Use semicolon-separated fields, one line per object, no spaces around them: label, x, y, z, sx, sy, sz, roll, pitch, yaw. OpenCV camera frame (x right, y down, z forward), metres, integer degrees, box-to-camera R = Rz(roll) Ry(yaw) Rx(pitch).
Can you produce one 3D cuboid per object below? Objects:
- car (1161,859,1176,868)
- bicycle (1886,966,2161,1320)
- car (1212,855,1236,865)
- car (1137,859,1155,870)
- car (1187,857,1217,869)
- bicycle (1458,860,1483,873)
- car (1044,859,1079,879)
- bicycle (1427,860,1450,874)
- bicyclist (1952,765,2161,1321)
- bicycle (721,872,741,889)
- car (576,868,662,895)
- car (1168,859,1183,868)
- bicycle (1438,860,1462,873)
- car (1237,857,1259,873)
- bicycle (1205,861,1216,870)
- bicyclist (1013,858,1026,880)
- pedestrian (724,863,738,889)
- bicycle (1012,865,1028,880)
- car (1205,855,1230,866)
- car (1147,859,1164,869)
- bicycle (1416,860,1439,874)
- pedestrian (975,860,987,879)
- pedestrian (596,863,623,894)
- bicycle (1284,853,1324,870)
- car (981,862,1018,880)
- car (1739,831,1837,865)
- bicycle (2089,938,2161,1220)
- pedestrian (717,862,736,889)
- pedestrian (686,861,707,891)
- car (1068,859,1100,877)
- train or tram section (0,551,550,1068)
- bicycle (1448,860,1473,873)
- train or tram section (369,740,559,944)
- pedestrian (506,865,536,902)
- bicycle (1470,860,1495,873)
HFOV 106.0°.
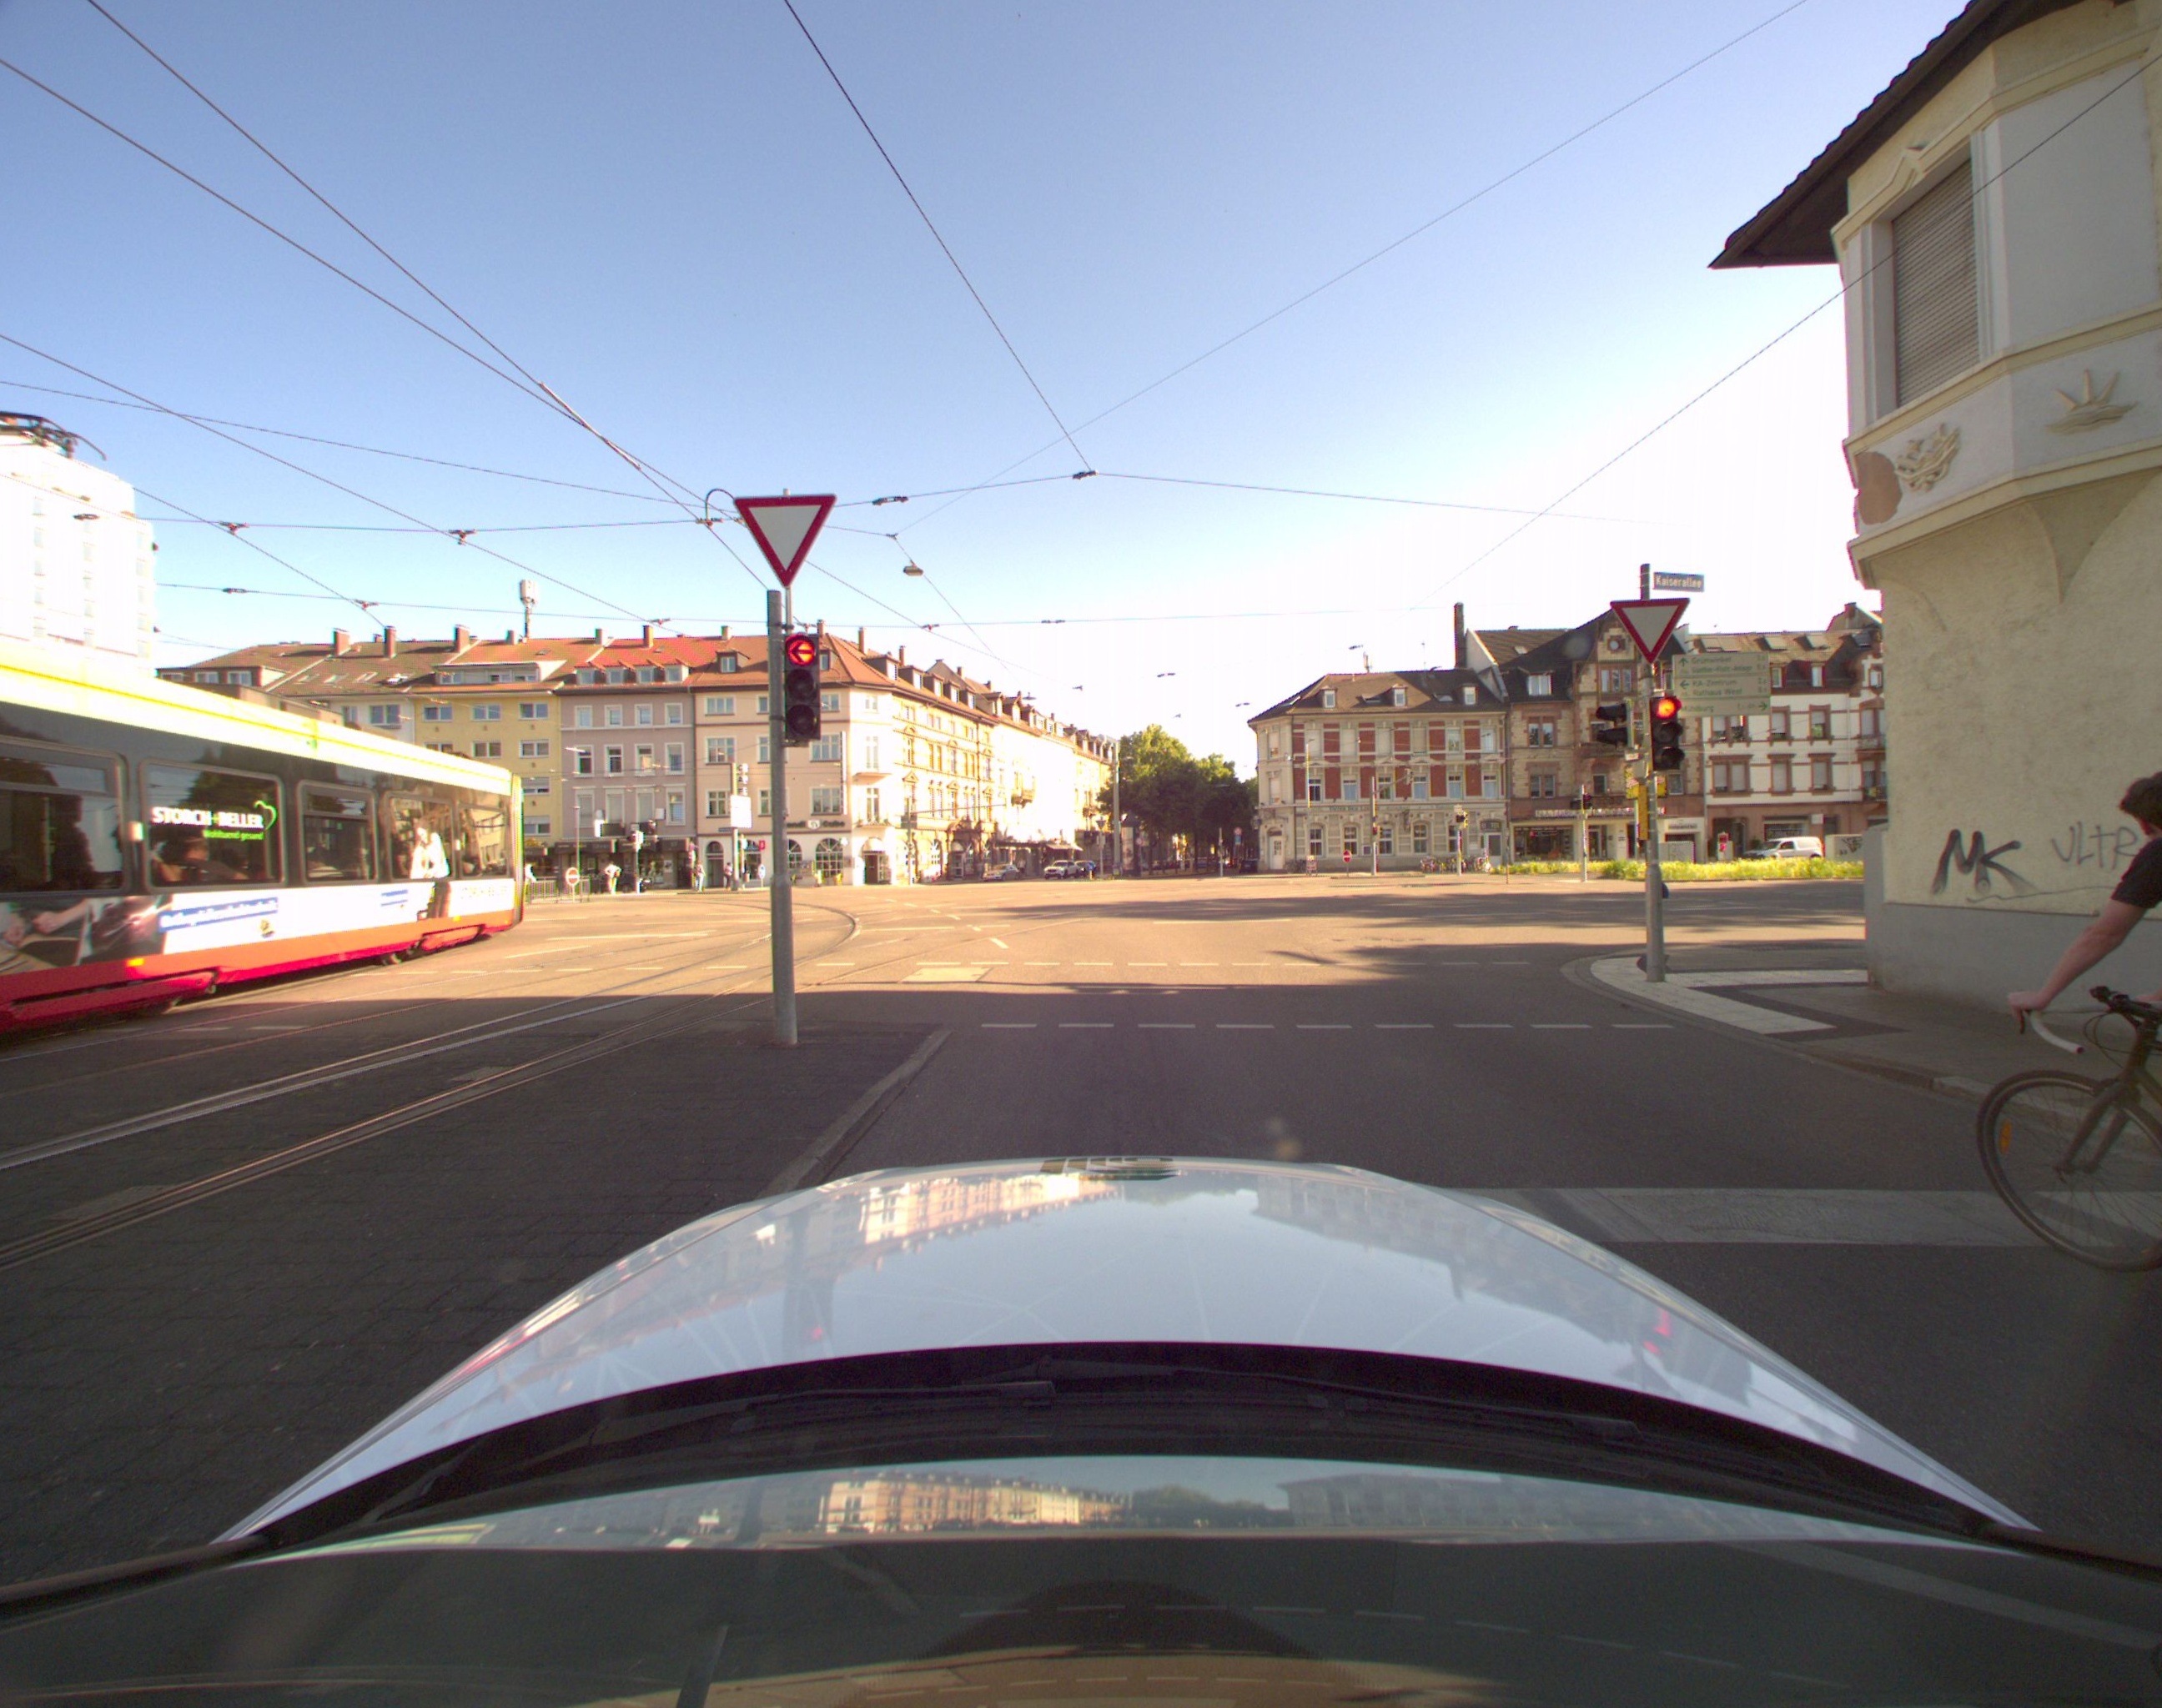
car;14.031;1.506;130.617;1.664;1.354;3.608;-2;0;19
bicycle;3.602;0.956;2.517;0.516;0.970;1.750;-1;0;2
car;23.352;0.972;133.163;3.549;1.648;1.691;-1;0;19
car;9.171;1.495;115.455;1.664;1.354;3.608;-2;0;19
car;17.202;1.261;115.463;3.870;1.648;1.691;-1;0;19
bicycle;25.205;0.809;52.711;0.656;0.840;2.162;0;-1;3
car;-1.605;1.213;67.518;1.664;1.483;3.789;-2;0;19
bicycle;23.161;0.824;52.764;0.656;0.840;2.162;0;-1;3
bicyclist;3.578;0.574;2.508;0.570;1.701;1.117;-1;0;2
bicycle;-22.796;1.724;53.040;0.570;1.077;1.497;0;-1;2
car;-30.365;1.781;53.644;4.347;1.711;2.308;0;-1;4
car;15.717;1.526;135.610;1.664;1.354;3.608;-2;0;19
bicycle;23.885;0.818;52.749;0.656;0.840;2.162;0;-1;3
car;16.903;1.100;82.343;1.664;1.483;3.967;-2;0;19
bicycle;15.768;1.395;99.288;0.636;1.021;1.839;0;-1;-12
bicyclist;-4.941;1.207;65.422;0.772;1.803;1.060;-1;-1;16
pedestrian;-22.796;1.427;53.100;0.580;1.670;0.753;0;-1;2
bicycle;-4.894;1.482;65.542;0.696;1.118;1.642;-1;-1;16
car;21.446;1.065;127.729;3.549;1.648;1.691;-1;0;19
car;11.241;1.537;122.371;1.664;1.354;3.608;-2;0;19
bicycle;22.426;0.829;52.705;0.656;0.840;2.162;0;-1;3
pedestrian;-8.744;1.376;71.161;0.770;1.670;0.834;-1;-1;17
pedestrian;-24.638;1.280;42.551;0.842;1.577;0.836;-1;-1;11
bicycle;15.604;0.502;57.068;2.547;1.174;0.818;0;-1;-1
car;-6.709;1.422;67.234;1.664;1.354;3.608;-2;0;19
car;45.444;-0.373;52.411;4.406;2.013;2.002;-1;0;4
bicycle;4.491;0.936;2.571;0.515;1.090;1.799;-1;2;6
pedestrian;-21.548;1.295;49.456;0.838;1.577;0.718;0;-1;-45
pedestrian;-19.959;1.136;42.281;0.545;1.577;0.838;-1;-1;29
car;0.307;1.241;73.777;1.664;1.483;3.967;-2;0;19
train or tram section;-10.785;-0.263;10.509;2.938;3.814;12.749;-1;0;-16
bicycle;24.568;0.814;52.757;0.656;0.840;2.162;0;-1;3
train or tram section;-15.897;-0.159;20.826;2.956;3.814;11.980;-1;0;-39
pedestrian;-24.402;1.289;35.480;0.657;1.577;0.889;-1;-1;29
bicycle;26.009;0.803;52.726;0.656;0.840;2.162;0;-1;3
